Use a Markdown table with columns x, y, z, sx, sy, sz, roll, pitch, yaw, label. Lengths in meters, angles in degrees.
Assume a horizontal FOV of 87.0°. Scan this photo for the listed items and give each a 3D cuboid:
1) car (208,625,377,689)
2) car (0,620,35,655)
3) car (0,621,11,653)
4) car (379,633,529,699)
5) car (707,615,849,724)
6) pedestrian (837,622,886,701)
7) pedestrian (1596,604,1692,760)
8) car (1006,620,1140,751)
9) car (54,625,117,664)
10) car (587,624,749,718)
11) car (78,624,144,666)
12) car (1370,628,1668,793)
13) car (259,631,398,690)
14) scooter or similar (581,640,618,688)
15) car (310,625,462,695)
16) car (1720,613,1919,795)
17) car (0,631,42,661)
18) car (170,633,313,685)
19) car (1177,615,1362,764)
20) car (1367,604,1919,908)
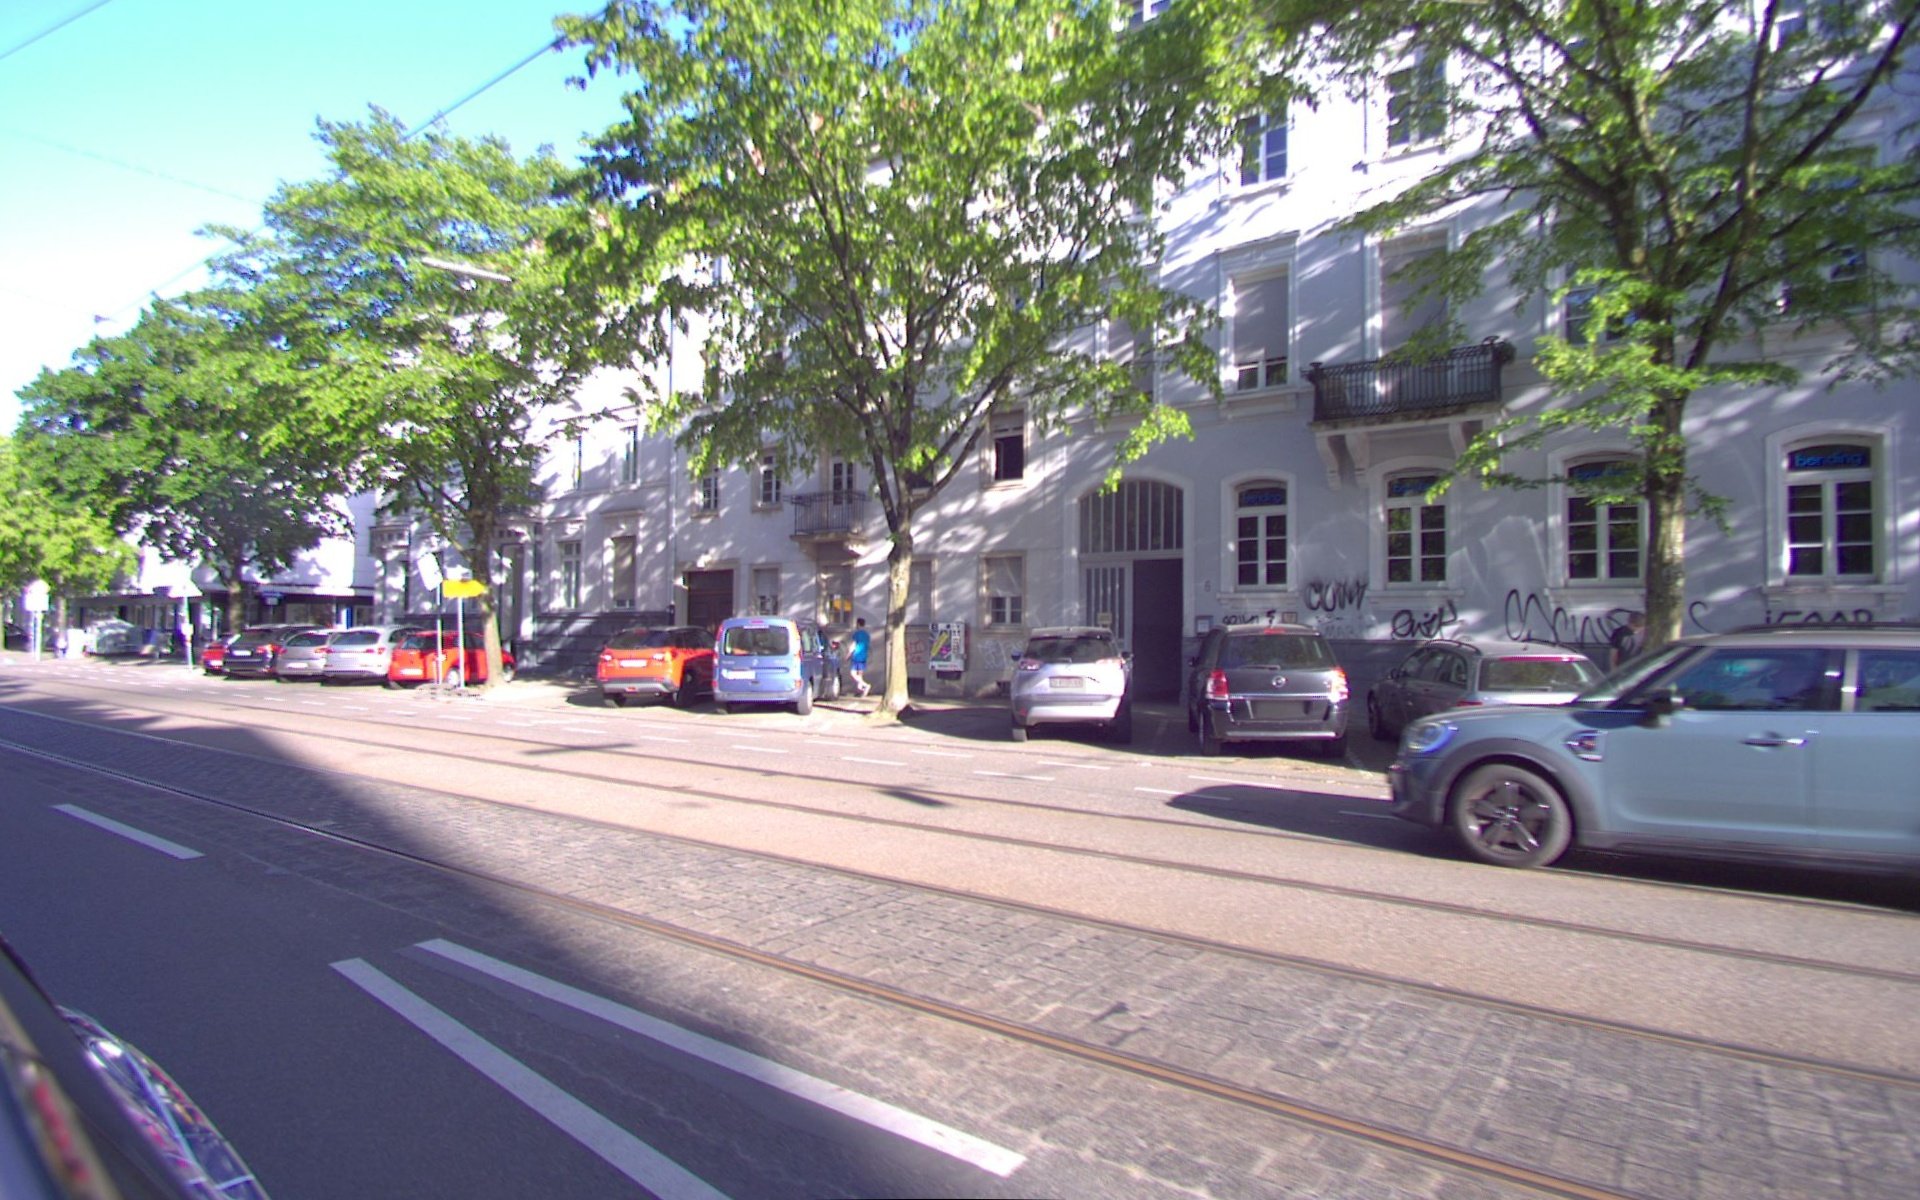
| x | y | z | sx | sy | sz | roll | pitch | yaw | label |
| --- | --- | --- | --- | --- | --- | --- | --- | --- | --- |
| -20.826 | 1.722 | 31.801 | 1.929 | 1.727 | 4.341 | 0 | 0 | 13 | car |
| -56.995 | 2.231 | 58.962 | 1.666 | 1.965 | 4.264 | -1 | 0 | 31 | car |
| -59.768 | 2.287 | 60.439 | 1.666 | 1.965 | 4.264 | -1 | 0 | 31 | car |
| -13.616 | 1.727 | 27.523 | 1.621 | 1.570 | 4.191 | 0 | -1 | 7 | car |
| -3.417 | 1.244 | 19.791 | 1.763 | 1.812 | 4.196 | 0 | 0 | 4 | car |
| -2.190 | 1.349 | 22.523 | 0.870 | 1.709 | 0.635 | -2 | -3 | 41 | pedestrian |
| 8.118 | 0.954 | 12.045 | 0.804 | 1.769 | 0.759 | -1 | -3 | 26 | pedestrian |
| 1.725 | 1.169 | 15.336 | 1.752 | 1.667 | 3.862 | 0 | -1 | 7 | car |
| -43.430 | 2.197 | 50.233 | 3.209 | 1.912 | 1.652 | -1 | -3 | 37 | car |
| -6.011 | 1.405 | 21.374 | 1.722 | 1.649 | 4.191 | -2 | 0 | 7 | car |
| -40.190 | 2.131 | 47.893 | 3.209 | 1.912 | 1.652 | -1 | -3 | 37 | car |
| 6.273 | 1.137 | 11.886 | 1.750 | 1.496 | 3.814 | 0 | 0 | 7 | car |
| -18.815 | 1.765 | 30.373 | 1.725 | 1.531 | 3.763 | 0 | 0 | 3 | car |
| -10.382 | 1.834 | 29.161 | 1.285 | 1.368 | 0.396 | -2 | -4 | 41 | scooter or similar |
| -16.235 | 1.633 | 28.888 | 1.762 | 1.737 | 4.196 | 0 | 0 | 4 | car |
| 9.565 | 0.957 | 10.069 | 1.686 | 1.544 | 3.276 | -1 | 1 | 5 | car |
| -54.571 | 2.620 | 56.894 | 1.666 | 1.582 | 4.060 | -1 | 0 | 31 | car |
| -23.887 | 1.914 | 33.826 | 1.759 | 1.497 | 3.994 | 0 | 0 | 4 | car |
| 3.952 | 1.045 | 13.534 | 1.752 | 1.667 | 3.861 | 0 | -1 | 8 | car |
| 5.155 | 0.877 | 6.511 | 4.416 | 1.613 | 1.855 | -1 | -3 | 35 | car |
